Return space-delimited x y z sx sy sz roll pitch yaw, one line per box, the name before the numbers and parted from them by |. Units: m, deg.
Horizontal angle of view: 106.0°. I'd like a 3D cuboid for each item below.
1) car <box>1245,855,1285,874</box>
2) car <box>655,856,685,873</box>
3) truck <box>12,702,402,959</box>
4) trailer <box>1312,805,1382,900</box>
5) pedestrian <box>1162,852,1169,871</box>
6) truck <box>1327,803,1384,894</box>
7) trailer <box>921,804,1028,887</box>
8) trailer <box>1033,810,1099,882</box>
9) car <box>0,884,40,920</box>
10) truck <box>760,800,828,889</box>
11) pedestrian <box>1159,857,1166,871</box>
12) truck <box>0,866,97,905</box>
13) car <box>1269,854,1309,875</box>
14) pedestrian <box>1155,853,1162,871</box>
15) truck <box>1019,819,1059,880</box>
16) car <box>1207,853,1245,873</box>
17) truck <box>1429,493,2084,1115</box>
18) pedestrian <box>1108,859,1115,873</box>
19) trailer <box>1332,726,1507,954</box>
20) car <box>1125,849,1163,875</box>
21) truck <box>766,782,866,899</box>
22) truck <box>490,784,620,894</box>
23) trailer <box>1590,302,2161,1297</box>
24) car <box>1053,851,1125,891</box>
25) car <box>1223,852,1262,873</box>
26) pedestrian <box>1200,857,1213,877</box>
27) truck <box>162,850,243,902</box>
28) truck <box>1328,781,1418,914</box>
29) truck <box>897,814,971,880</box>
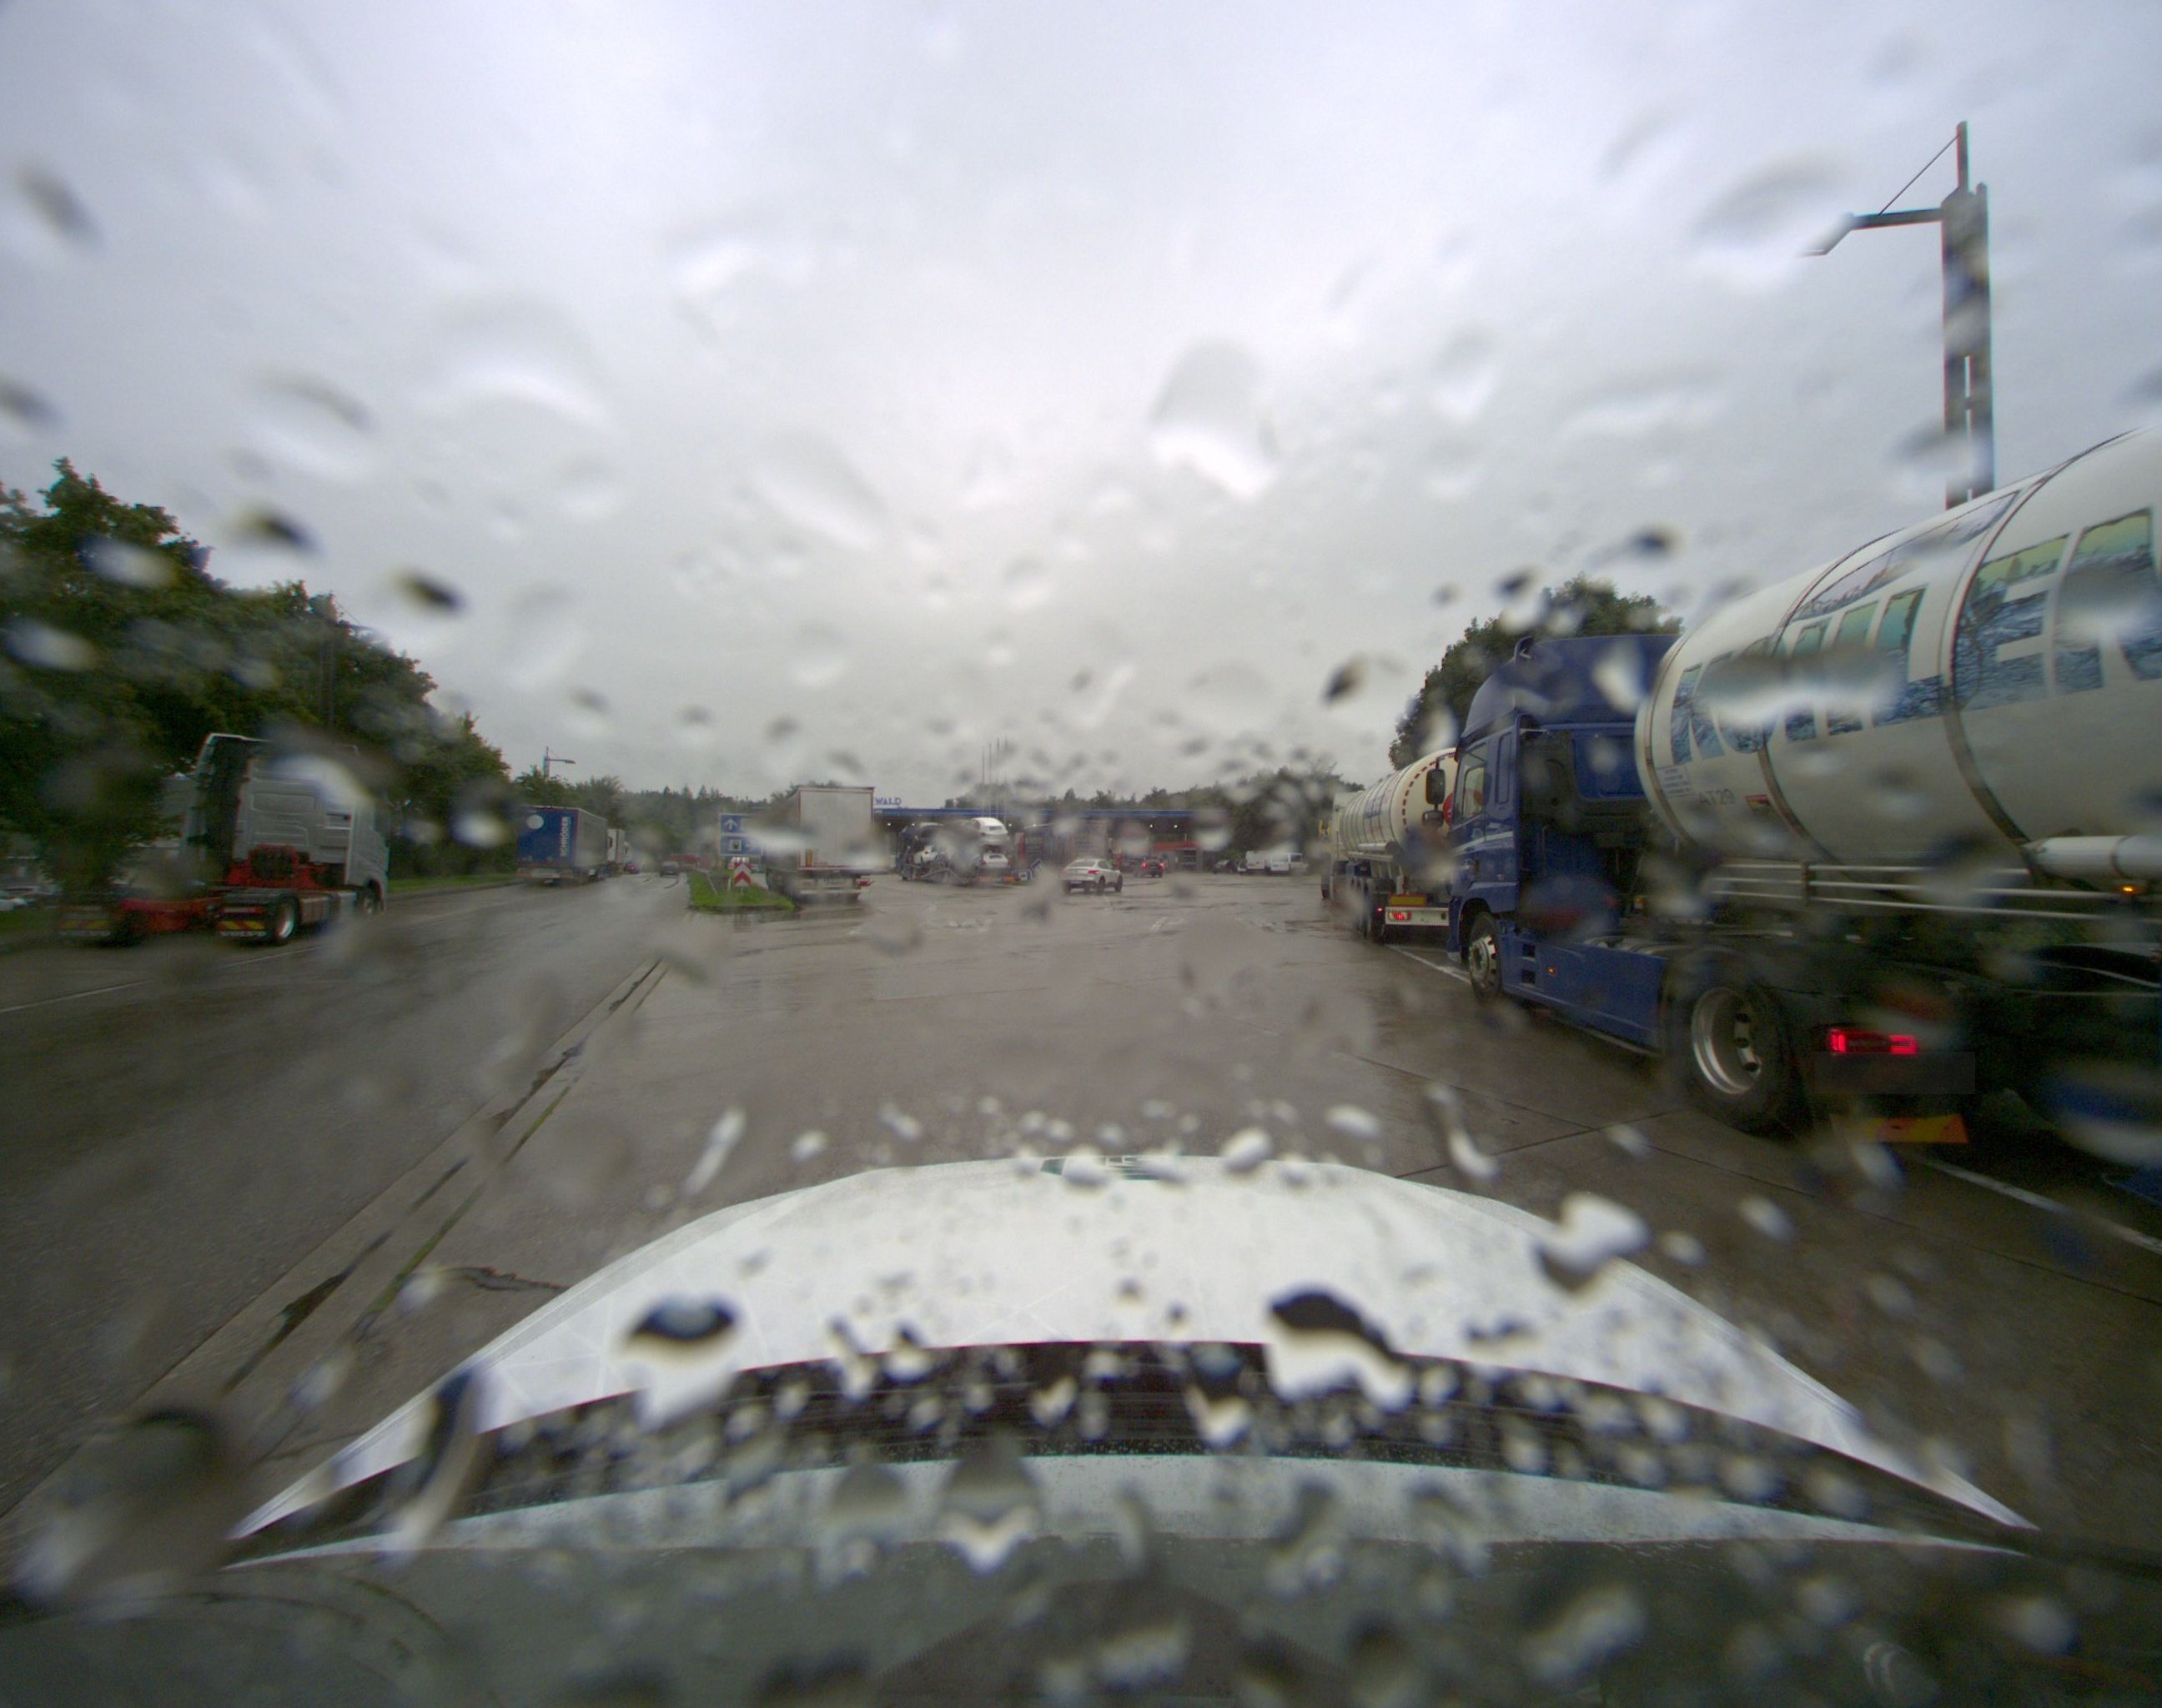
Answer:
car | 16.770 0.933 74.006 2.093 1.728 4.025 -1 0 36
car | -38.028 0.982 75.434 1.883 1.461 3.975 1 -1 -18
truck | -16.158 -0.334 15.839 2.929 3.904 6.265 0 -1 -25
trailer | 10.890 -0.035 32.892 2.164 3.392 7.604 0 0 22
pedestrian | 9.476 0.859 90.966 0.665 2.014 0.744 2 -4 9
truck | 12.428 -0.224 36.703 2.162 3.828 4.164 0 -1 22
trailer | -6.476 -0.398 47.181 3.229 4.189 11.441 1 -1 -23
trailer | -1.224 -0.404 56.427 1.998 4.559 9.752 1 -1 -17
car | -49.081 2.160 36.252 1.920 1.550 3.964 -1 -1 -28
truck | -13.844 -0.405 38.945 2.382 3.874 6.954 0 0 -25
pedestrian | 8.828 1.078 88.122 0.606 1.539 0.594 0 -2 -1
truck | -100.997 2.950 79.406 2.785 3.505 8.618 0 0 -23
car | 18.326 0.901 71.694 2.093 1.728 4.025 -1 0 36
pedestrian | 8.766 0.907 92.175 0.584 2.014 0.637 2 -3 0
truck | -3.318 -0.287 63.383 1.993 4.550 4.767 1 -1 -17
car | 14.584 0.873 81.854 2.093 1.937 4.218 -1 0 36
truck | 4.865 -0.270 7.062 2.043 3.531 4.752 0 -1 5
pedestrian | 3.497 1.359 93.892 0.714 1.522 0.744 2 -3 9
trailer | 6.714 -0.171 17.506 2.115 3.441 10.293 0 0 15
car | 5.269 0.710 68.559 1.997 2.014 3.979 3 -3 -14
truck | -11.034 -0.435 32.948 2.382 3.874 12.352 0 0 -25
truck | -28.834 -0.659 45.422 4.817 5.306 10.973 0 -1 -26
trailer | 4.330 -0.195 0.890 1.971 3.225 10.335 0 -1 5
car | 0.433 0.769 36.686 1.977 1.679 4.019 1 -1 20
car | 15.391 0.834 77.625 2.093 1.937 4.218 -1 0 36
pedestrian | 12.608 1.300 81.958 0.945 1.920 1.095 0 0 28
truck | -61.070 1.564 56.763 2.519 3.365 4.703 4 -4 -33
truck | 8.452 -0.156 24.000 2.130 3.513 4.665 0 -1 15
truck | -10.311 -0.425 56.327 3.247 4.189 8.379 1 -1 -23
